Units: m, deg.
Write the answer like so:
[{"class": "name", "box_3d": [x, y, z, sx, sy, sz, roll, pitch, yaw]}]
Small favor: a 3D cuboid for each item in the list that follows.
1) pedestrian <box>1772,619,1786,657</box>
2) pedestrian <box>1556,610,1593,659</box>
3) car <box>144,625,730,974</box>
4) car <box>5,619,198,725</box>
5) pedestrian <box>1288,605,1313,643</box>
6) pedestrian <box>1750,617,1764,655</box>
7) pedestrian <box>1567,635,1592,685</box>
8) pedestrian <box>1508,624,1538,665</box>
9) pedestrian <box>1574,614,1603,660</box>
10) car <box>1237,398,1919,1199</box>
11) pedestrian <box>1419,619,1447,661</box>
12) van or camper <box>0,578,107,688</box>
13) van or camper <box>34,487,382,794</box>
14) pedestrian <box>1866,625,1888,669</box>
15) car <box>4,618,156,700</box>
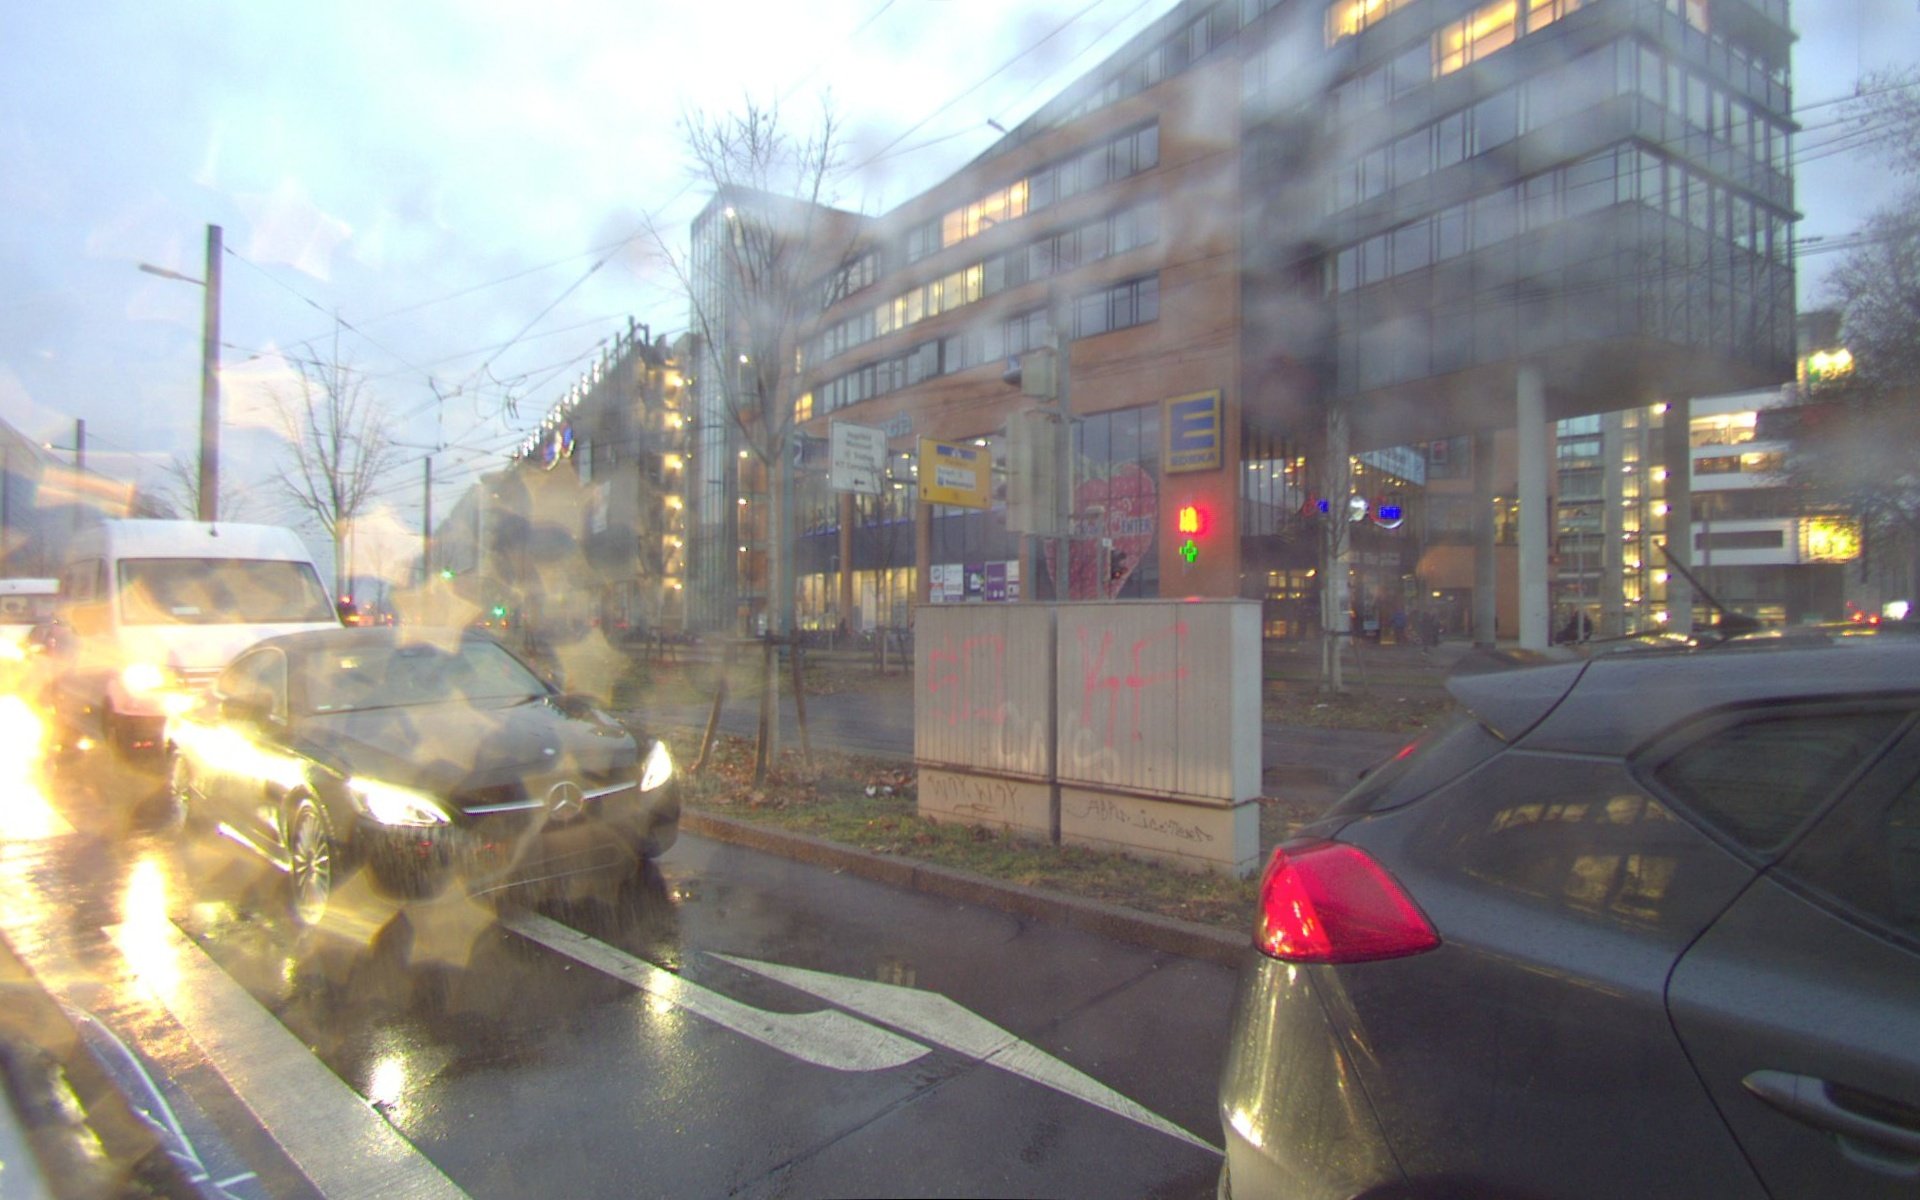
[{"class": "pedestrian", "box_3d": [38.134, 1.781, 47.134, 0.446, 1.764, 0.645, -1, -2, 41]}, {"class": "pedestrian", "box_3d": [23.413, 1.309, 38.544, 0.762, 1.860, 0.925, 1, -2, -29]}, {"class": "car", "box_3d": [-3.396, 0.852, 6.148, 4.224, 1.342, 1.800, -1, 0, 42]}, {"class": "car", "box_3d": [-13.509, 1.036, 15.850, 3.951, 1.409, 1.800, -1, 0, 42]}, {"class": "pedestrian", "box_3d": [13.633, 0.970, 40.487, 0.642, 1.515, 0.695, 2, -3, -40]}, {"class": "pedestrian", "box_3d": [37.500, 1.678, 47.600, 0.446, 1.764, 0.645, -1, -2, 41]}, {"class": "pedestrian", "box_3d": [16.263, 1.569, 26.572, 0.495, 1.274, 0.440, -1, 0, 37]}, {"class": "pedestrian", "box_3d": [24.194, 1.908, 43.478, 0.910, 1.721, 0.696, 1, -2, -20]}, {"class": "pedestrian", "box_3d": [24.227, 1.426, 38.993, 0.715, 1.721, 0.695, 1, -2, -34]}, {"class": "car", "box_3d": [2.370, 0.579, 0.911, 3.760, 1.585, 1.662, -1, -2, 42]}, {"class": "pedestrian", "box_3d": [17.351, 1.471, 37.130, 0.642, 1.515, 0.695, 2, -3, -40]}, {"class": "van or camper", "box_3d": [-22.246, 0.753, 24.400, 2.155, 2.370, 5.653, -1, 0, -44]}, {"class": "van or camper", "box_3d": [-8.538, 0.357, 11.204, 5.885, 2.567, 2.034, -1, 0, 43]}, {"class": "pedestrian", "box_3d": [35.903, 1.838, 39.628, 0.560, 1.696, 0.590, -1, -2, 37]}, {"class": "car", "box_3d": [-17.383, 1.087, 19.936, 3.951, 1.409, 1.800, -1, 0, 42]}]
